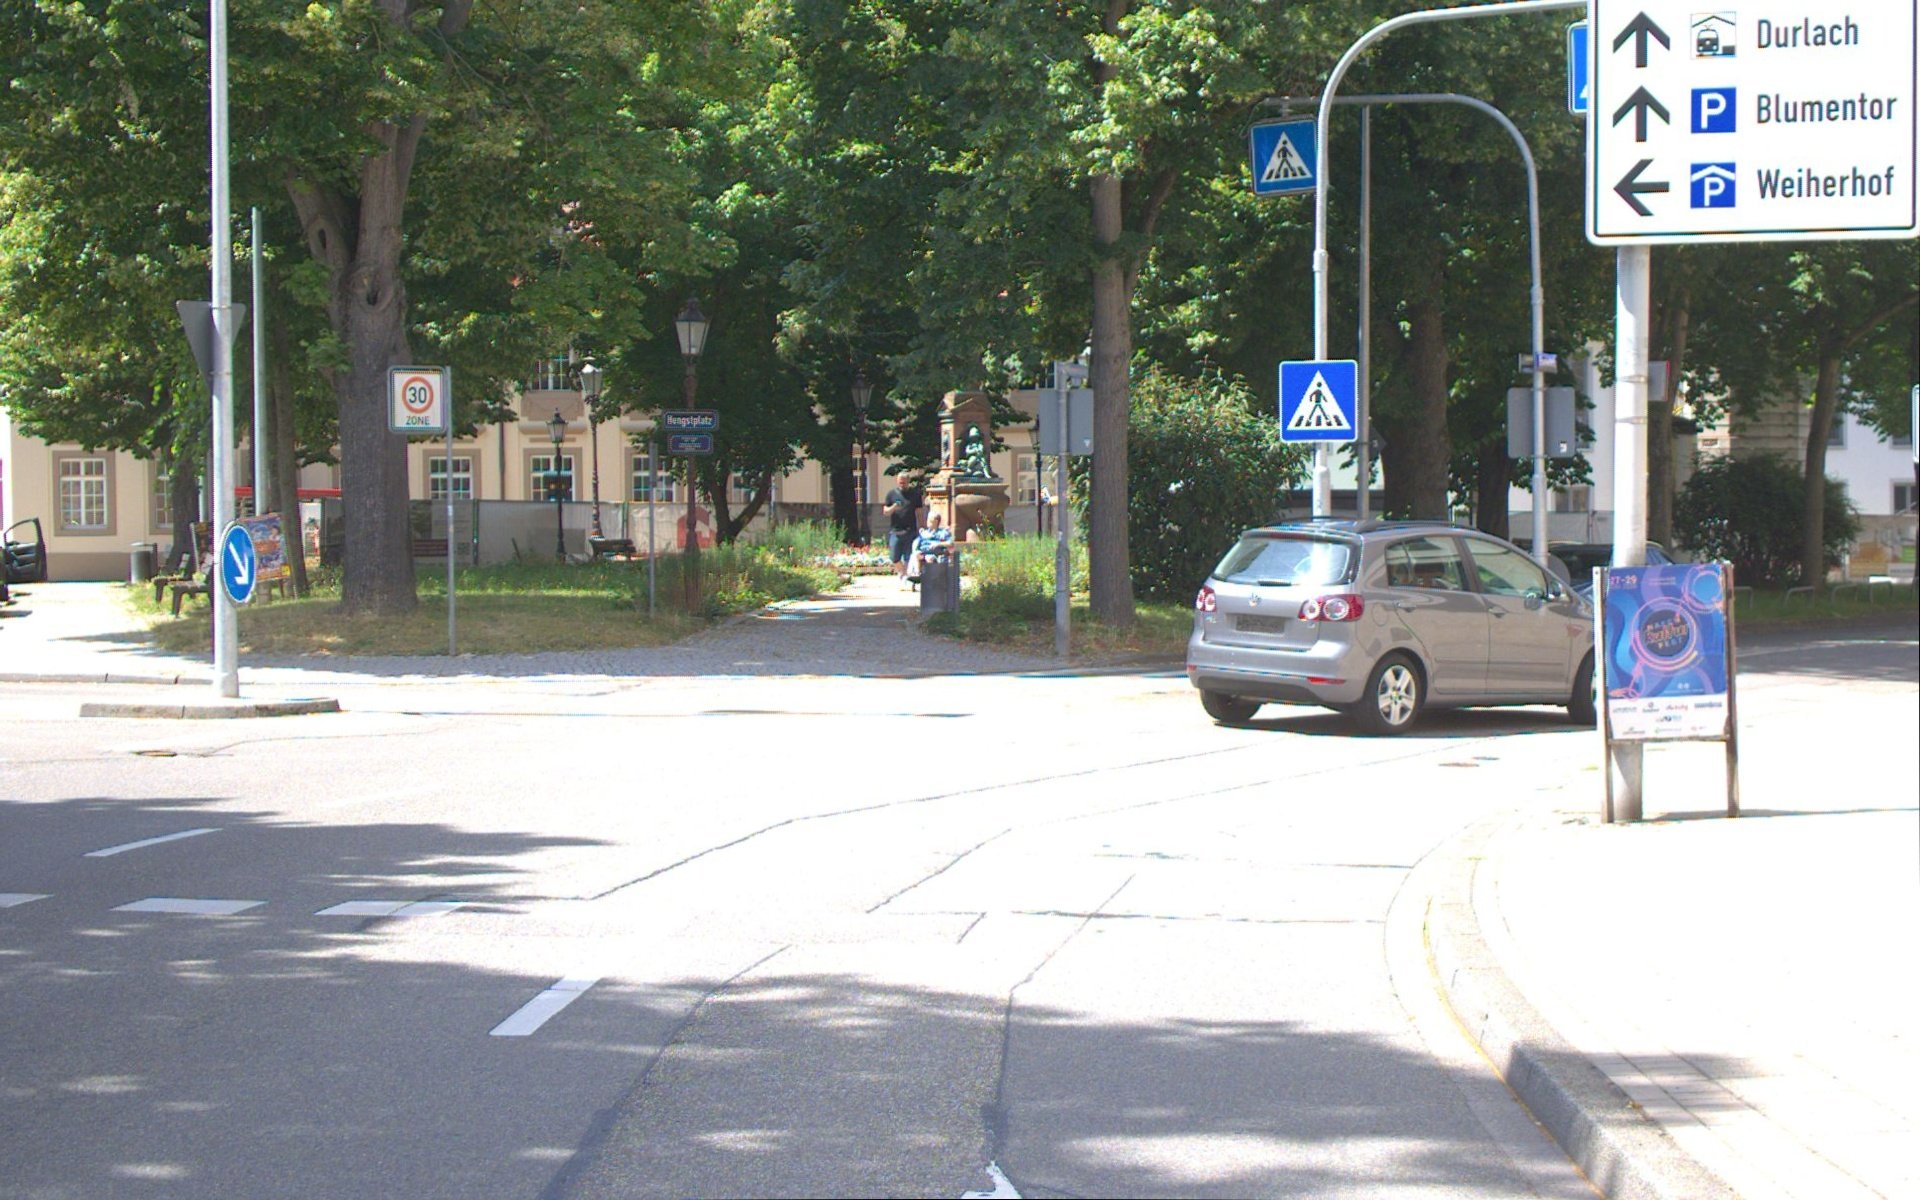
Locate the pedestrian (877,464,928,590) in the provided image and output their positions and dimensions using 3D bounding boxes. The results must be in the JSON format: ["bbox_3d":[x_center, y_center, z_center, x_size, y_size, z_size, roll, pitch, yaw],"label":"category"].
[{"bbox_3d":[-0.876,-1.124,52.787,0.748,1.904,0.684,0,3,1],"label":"pedestrian"}]

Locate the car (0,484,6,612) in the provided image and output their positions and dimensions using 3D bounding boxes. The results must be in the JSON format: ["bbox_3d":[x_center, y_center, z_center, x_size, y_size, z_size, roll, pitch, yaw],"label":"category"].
[{"bbox_3d":[-15.762,-0.772,52.454,2.049,1.995,5.251,-1,2,-13],"label":"car"}]

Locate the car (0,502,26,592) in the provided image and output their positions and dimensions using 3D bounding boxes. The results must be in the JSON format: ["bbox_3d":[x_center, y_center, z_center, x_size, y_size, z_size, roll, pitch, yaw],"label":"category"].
[{"bbox_3d":[-19.091,-1.039,66.469,1.782,1.687,4.202,-1,2,-13],"label":"car"}]

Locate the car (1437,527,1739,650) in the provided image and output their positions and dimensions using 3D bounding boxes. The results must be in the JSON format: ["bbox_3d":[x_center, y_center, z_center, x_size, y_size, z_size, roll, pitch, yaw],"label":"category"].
[{"bbox_3d":[8.114,-0.187,44.171,1.742,1.483,4.397,1,2,42],"label":"car"}]

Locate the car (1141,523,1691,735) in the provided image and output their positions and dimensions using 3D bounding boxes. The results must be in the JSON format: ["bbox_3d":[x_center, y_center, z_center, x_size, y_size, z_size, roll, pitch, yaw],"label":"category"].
[{"bbox_3d":[3.618,0.172,26.899,4.231,1.528,1.909,-1,2,-40],"label":"car"}]

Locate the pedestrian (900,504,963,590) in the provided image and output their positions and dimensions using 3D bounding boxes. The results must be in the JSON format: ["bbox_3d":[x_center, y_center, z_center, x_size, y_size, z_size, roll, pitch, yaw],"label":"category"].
[{"bbox_3d":[-0.421,-0.808,51.949,0.906,1.247,1.148,0,3,1],"label":"pedestrian"}]

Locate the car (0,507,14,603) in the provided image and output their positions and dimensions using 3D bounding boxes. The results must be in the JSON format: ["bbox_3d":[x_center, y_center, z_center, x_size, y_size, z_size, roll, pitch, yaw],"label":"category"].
[{"bbox_3d":[-17.446,-0.806,59.590,1.782,1.618,4.487,-1,2,-13],"label":"car"}]
